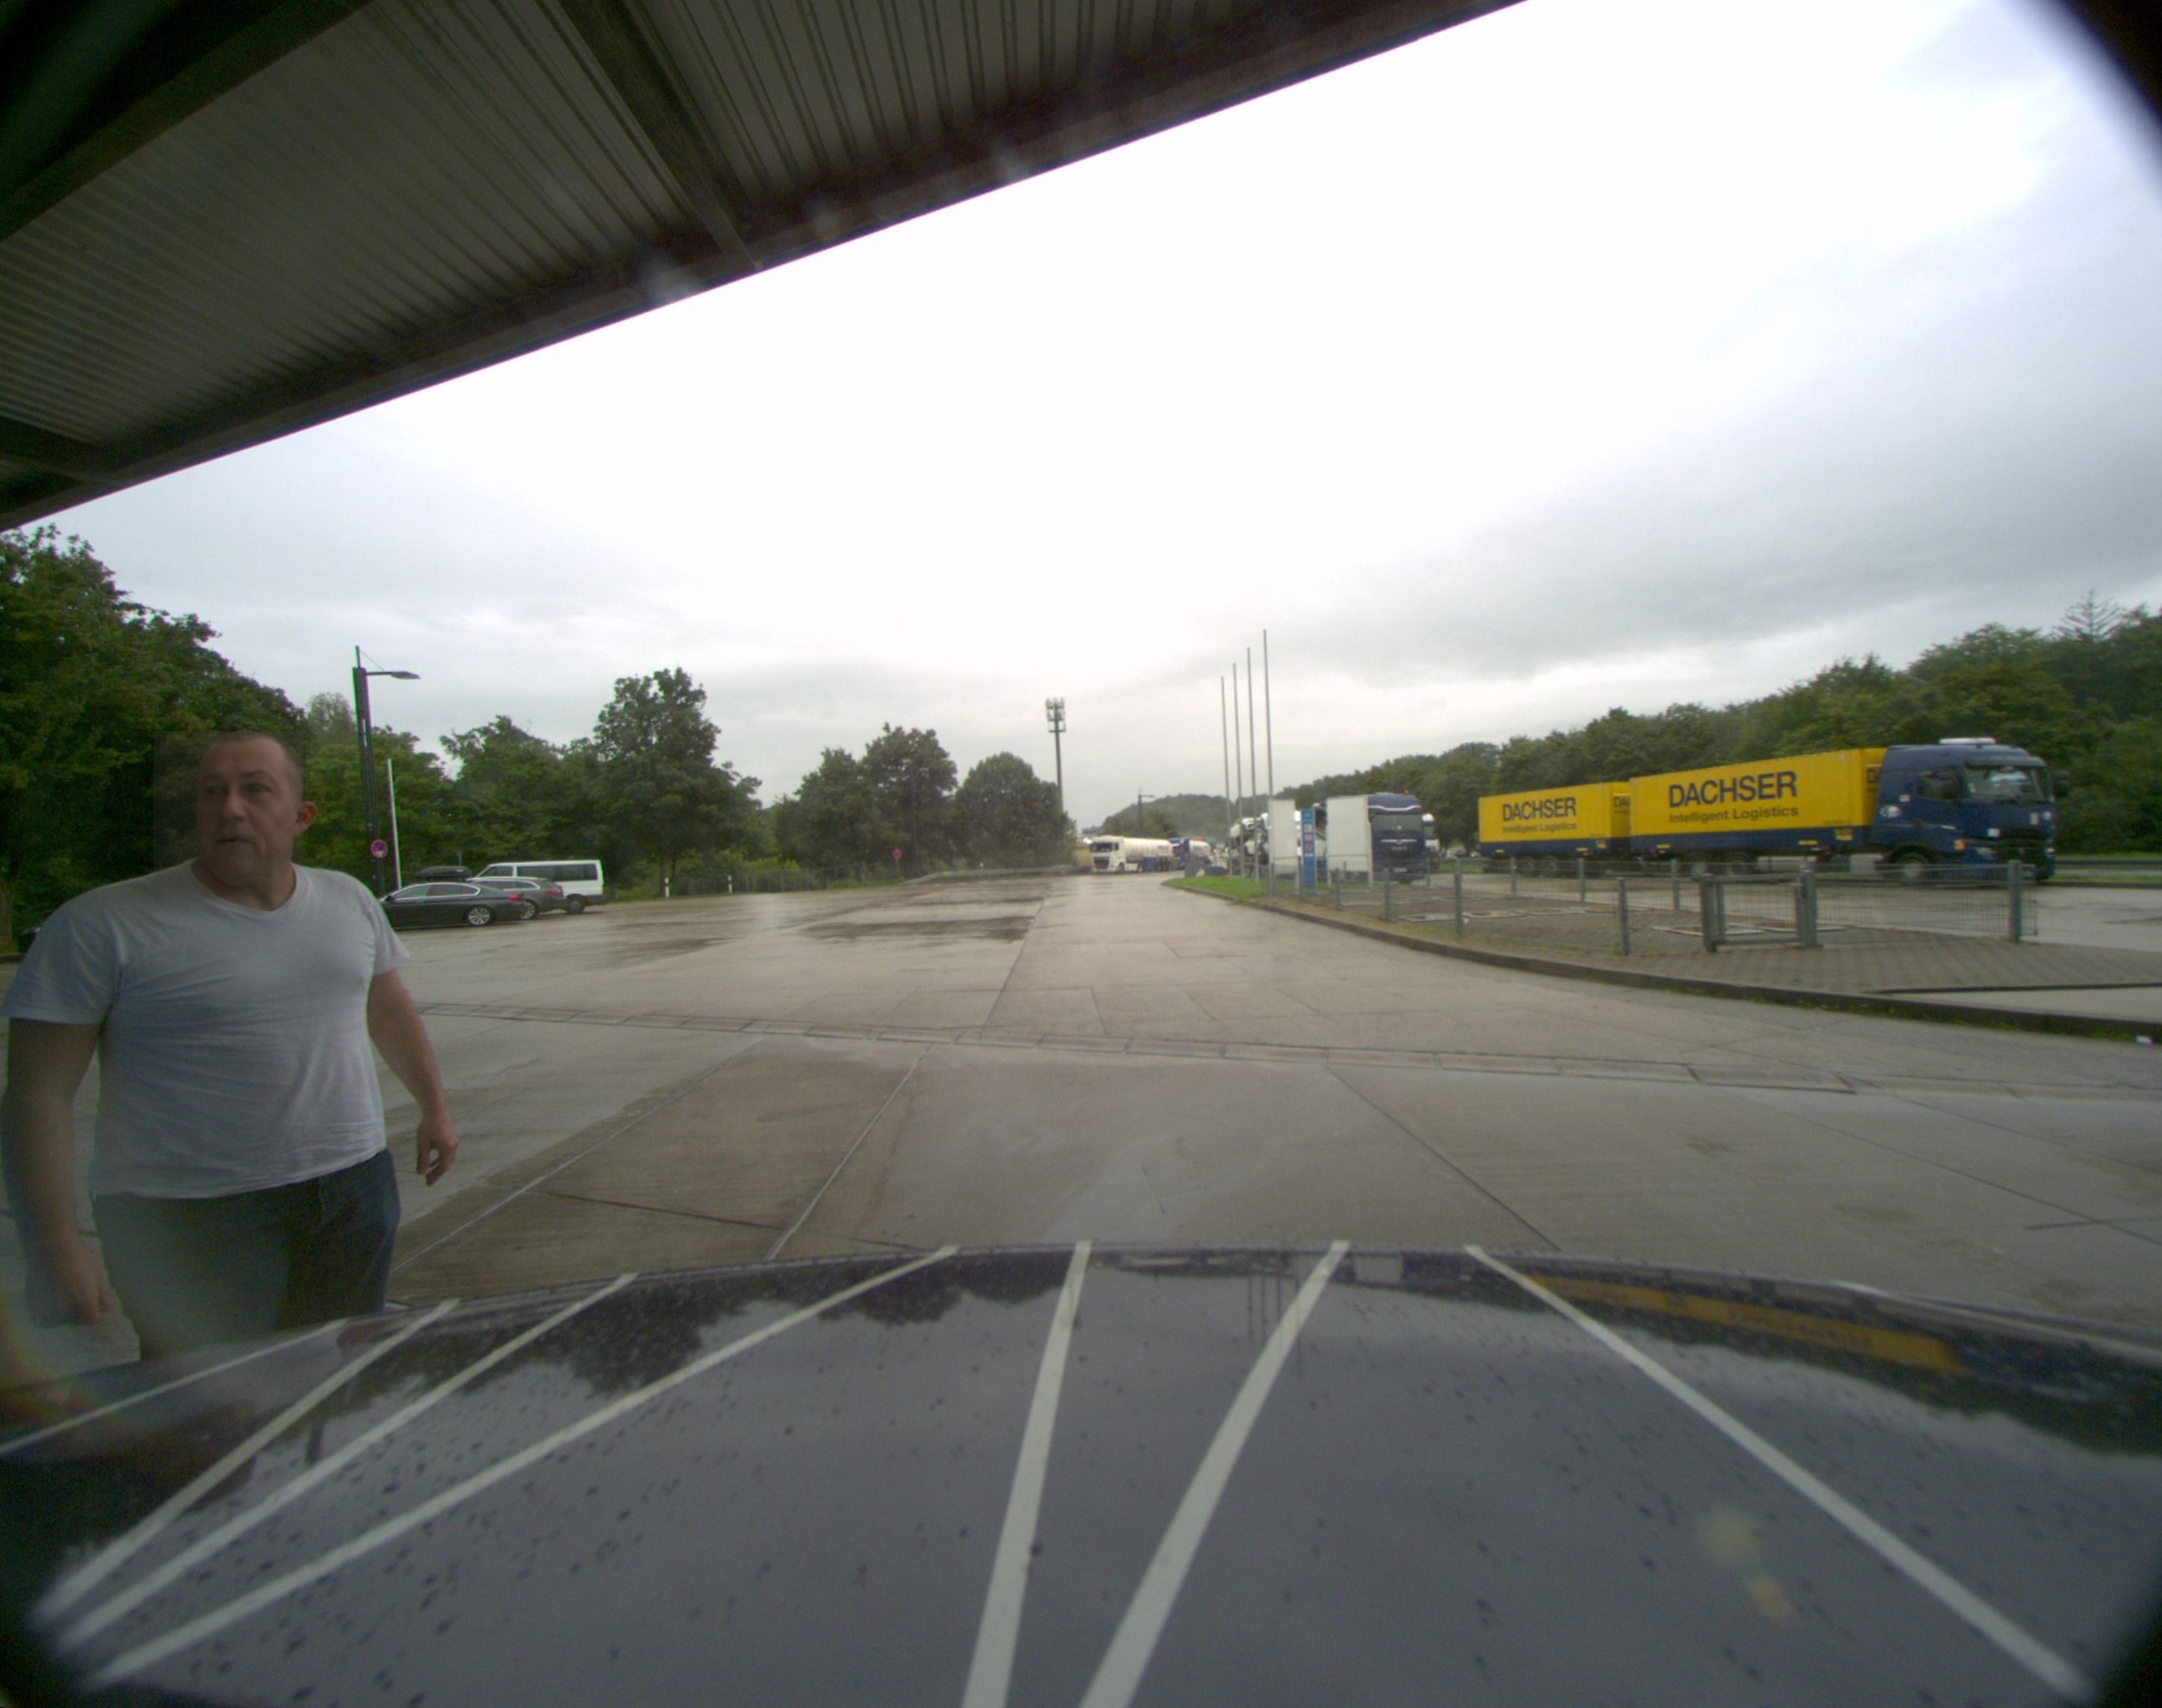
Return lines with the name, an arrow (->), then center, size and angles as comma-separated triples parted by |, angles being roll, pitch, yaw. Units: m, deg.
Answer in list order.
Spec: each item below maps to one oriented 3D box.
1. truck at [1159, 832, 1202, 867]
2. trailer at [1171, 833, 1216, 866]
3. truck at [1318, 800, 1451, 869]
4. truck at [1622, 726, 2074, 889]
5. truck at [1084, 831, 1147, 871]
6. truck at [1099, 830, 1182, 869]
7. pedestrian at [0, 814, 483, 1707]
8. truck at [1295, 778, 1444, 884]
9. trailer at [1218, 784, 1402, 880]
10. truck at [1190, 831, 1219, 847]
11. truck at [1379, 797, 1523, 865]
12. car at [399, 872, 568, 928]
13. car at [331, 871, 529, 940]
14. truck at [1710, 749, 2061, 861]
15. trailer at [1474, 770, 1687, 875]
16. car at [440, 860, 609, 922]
truck -> 11.315, -0.523, 85.734 | 3.045, 3.745, 6.475 | -2, 1, 23
trailer -> 13.656, -0.650, 91.442 | 2.898, 3.618, 10.586 | -2, 1, 22
truck -> 19.746, -1.220, 50.432 | 2.991, 4.009, 10.464 | -2, 1, -10
truck -> 23.049, -1.215, 24.309 | 2.774, 4.009, 10.632 | -2, 1, -8
truck -> 3.304, -0.354, 71.438 | 3.243, 3.544, 6.114 | -2, 1, 31
truck -> 6.187, -0.521, 76.350 | 3.243, 3.544, 11.995 | -2, 1, 31
pedestrian -> -1.714, 0.838, 1.448 | 0.493, 1.800, 0.634 | -2, 2, 10
truck -> 12.291, -0.923, 33.248 | 2.990, 4.009, 7.259 | -2, 1, -7
trailer -> 11.362, -0.999, 40.939 | 2.990, 4.009, 16.597 | -2, 1, -7
truck -> 31.451, -3.761, 194.468 | 3.251, 3.543, 14.657 | -2, 0, -7
truck -> 24.349, -1.404, 50.956 | 2.991, 4.009, 10.464 | -2, 1, -10
car -> -19.665, 1.454, 25.282 | 4.187, 1.547, 1.995 | -2, 0, -33
car -> -19.133, 1.451, 22.641 | 4.187, 1.720, 1.995 | -2, 0, -33
truck -> 33.762, -1.821, 32.933 | 2.991, 4.009, 10.464 | -2, 1, -10
trailer -> 21.772, -1.275, 33.992 | 2.774, 4.009, 8.853 | -2, 1, -8
car -> -20.275, 1.283, 27.913 | 4.780, 1.974, 2.010 | -2, 0, -36
